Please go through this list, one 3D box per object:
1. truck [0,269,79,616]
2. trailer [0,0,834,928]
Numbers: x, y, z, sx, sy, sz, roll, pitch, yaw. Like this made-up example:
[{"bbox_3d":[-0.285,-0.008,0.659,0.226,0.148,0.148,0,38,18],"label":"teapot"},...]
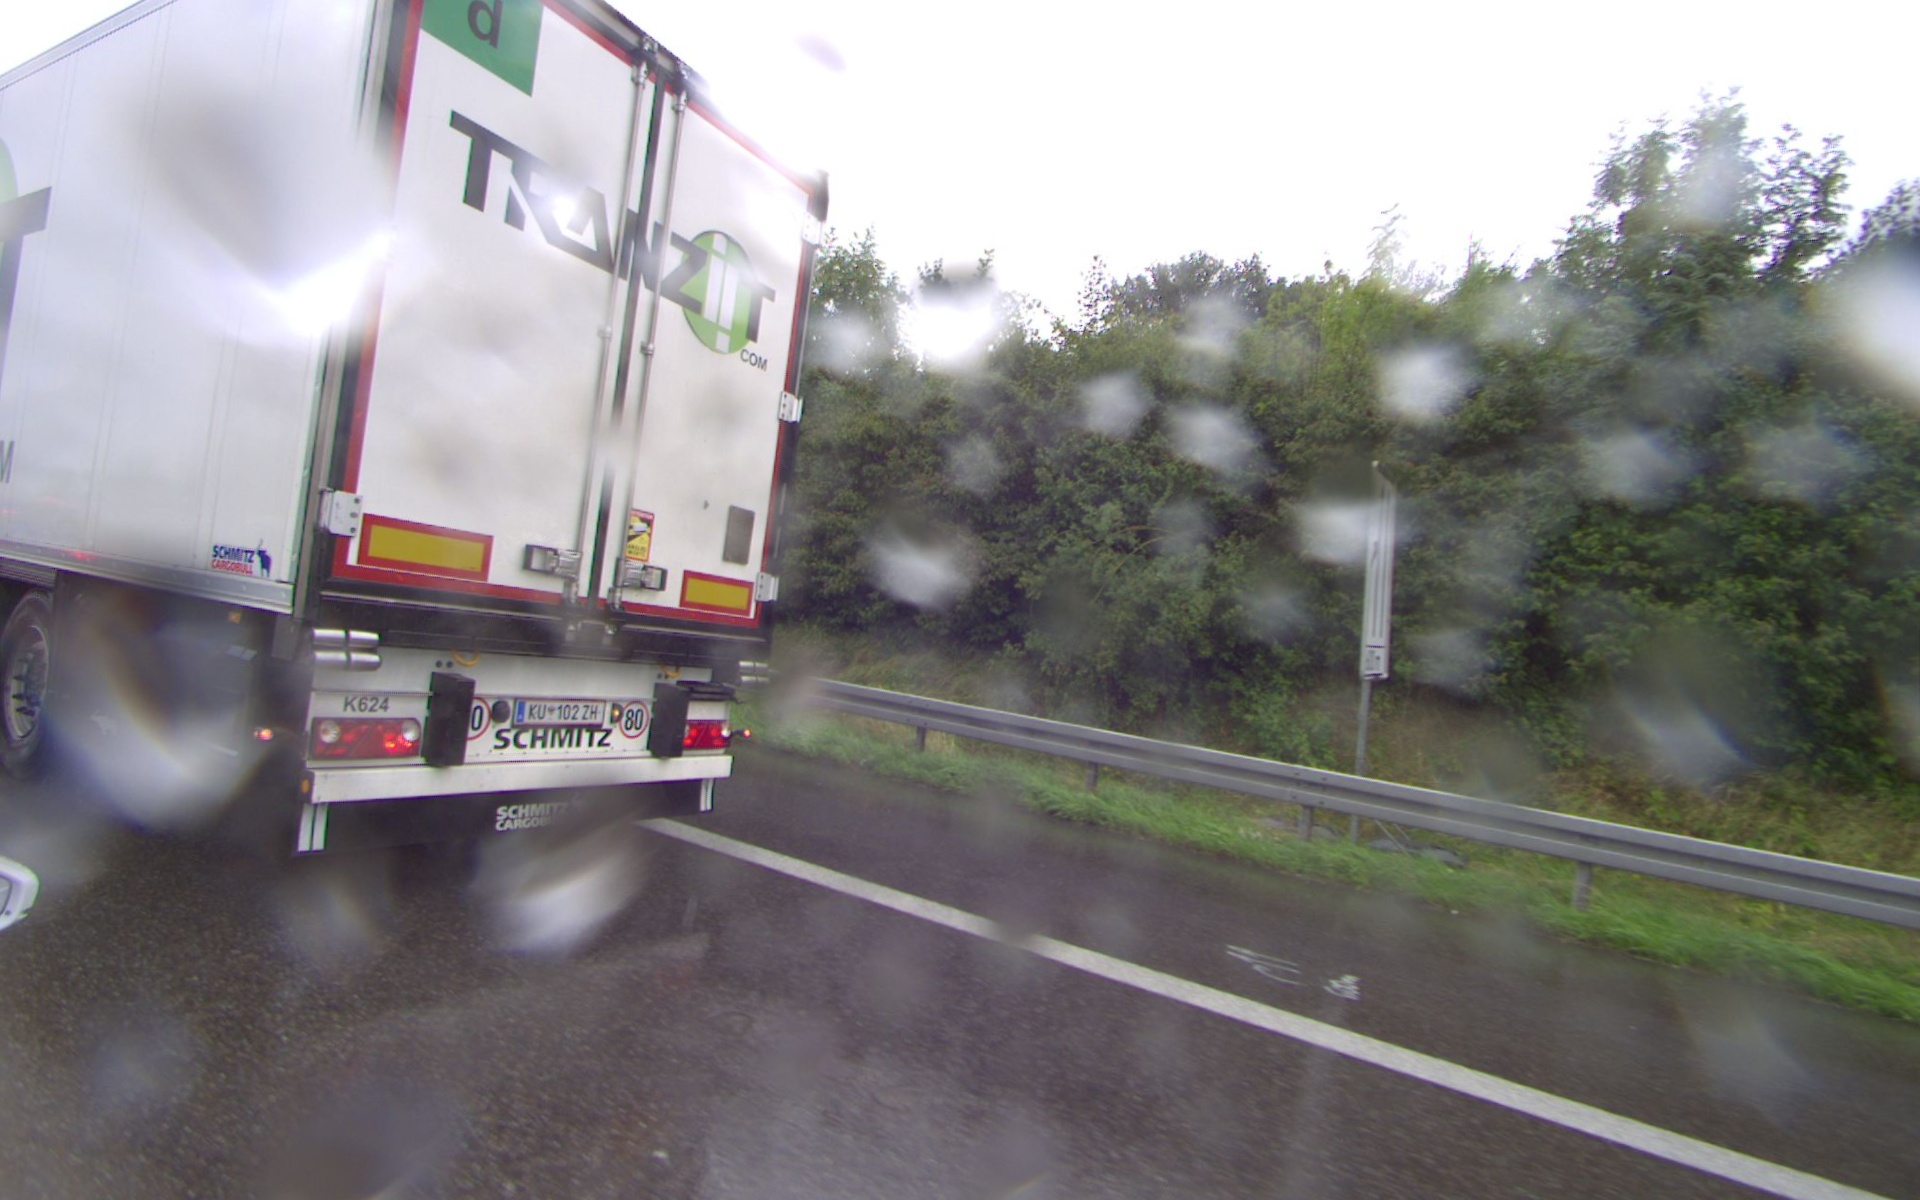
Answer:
[{"bbox_3d":[-13.304,-2.090,11.999,4.712,3.873,2.635,7,-1,32],"label":"truck"},{"bbox_3d":[-7.710,-1.476,8.491,14.387,4.061,2.634,7,-1,32],"label":"trailer"}]
